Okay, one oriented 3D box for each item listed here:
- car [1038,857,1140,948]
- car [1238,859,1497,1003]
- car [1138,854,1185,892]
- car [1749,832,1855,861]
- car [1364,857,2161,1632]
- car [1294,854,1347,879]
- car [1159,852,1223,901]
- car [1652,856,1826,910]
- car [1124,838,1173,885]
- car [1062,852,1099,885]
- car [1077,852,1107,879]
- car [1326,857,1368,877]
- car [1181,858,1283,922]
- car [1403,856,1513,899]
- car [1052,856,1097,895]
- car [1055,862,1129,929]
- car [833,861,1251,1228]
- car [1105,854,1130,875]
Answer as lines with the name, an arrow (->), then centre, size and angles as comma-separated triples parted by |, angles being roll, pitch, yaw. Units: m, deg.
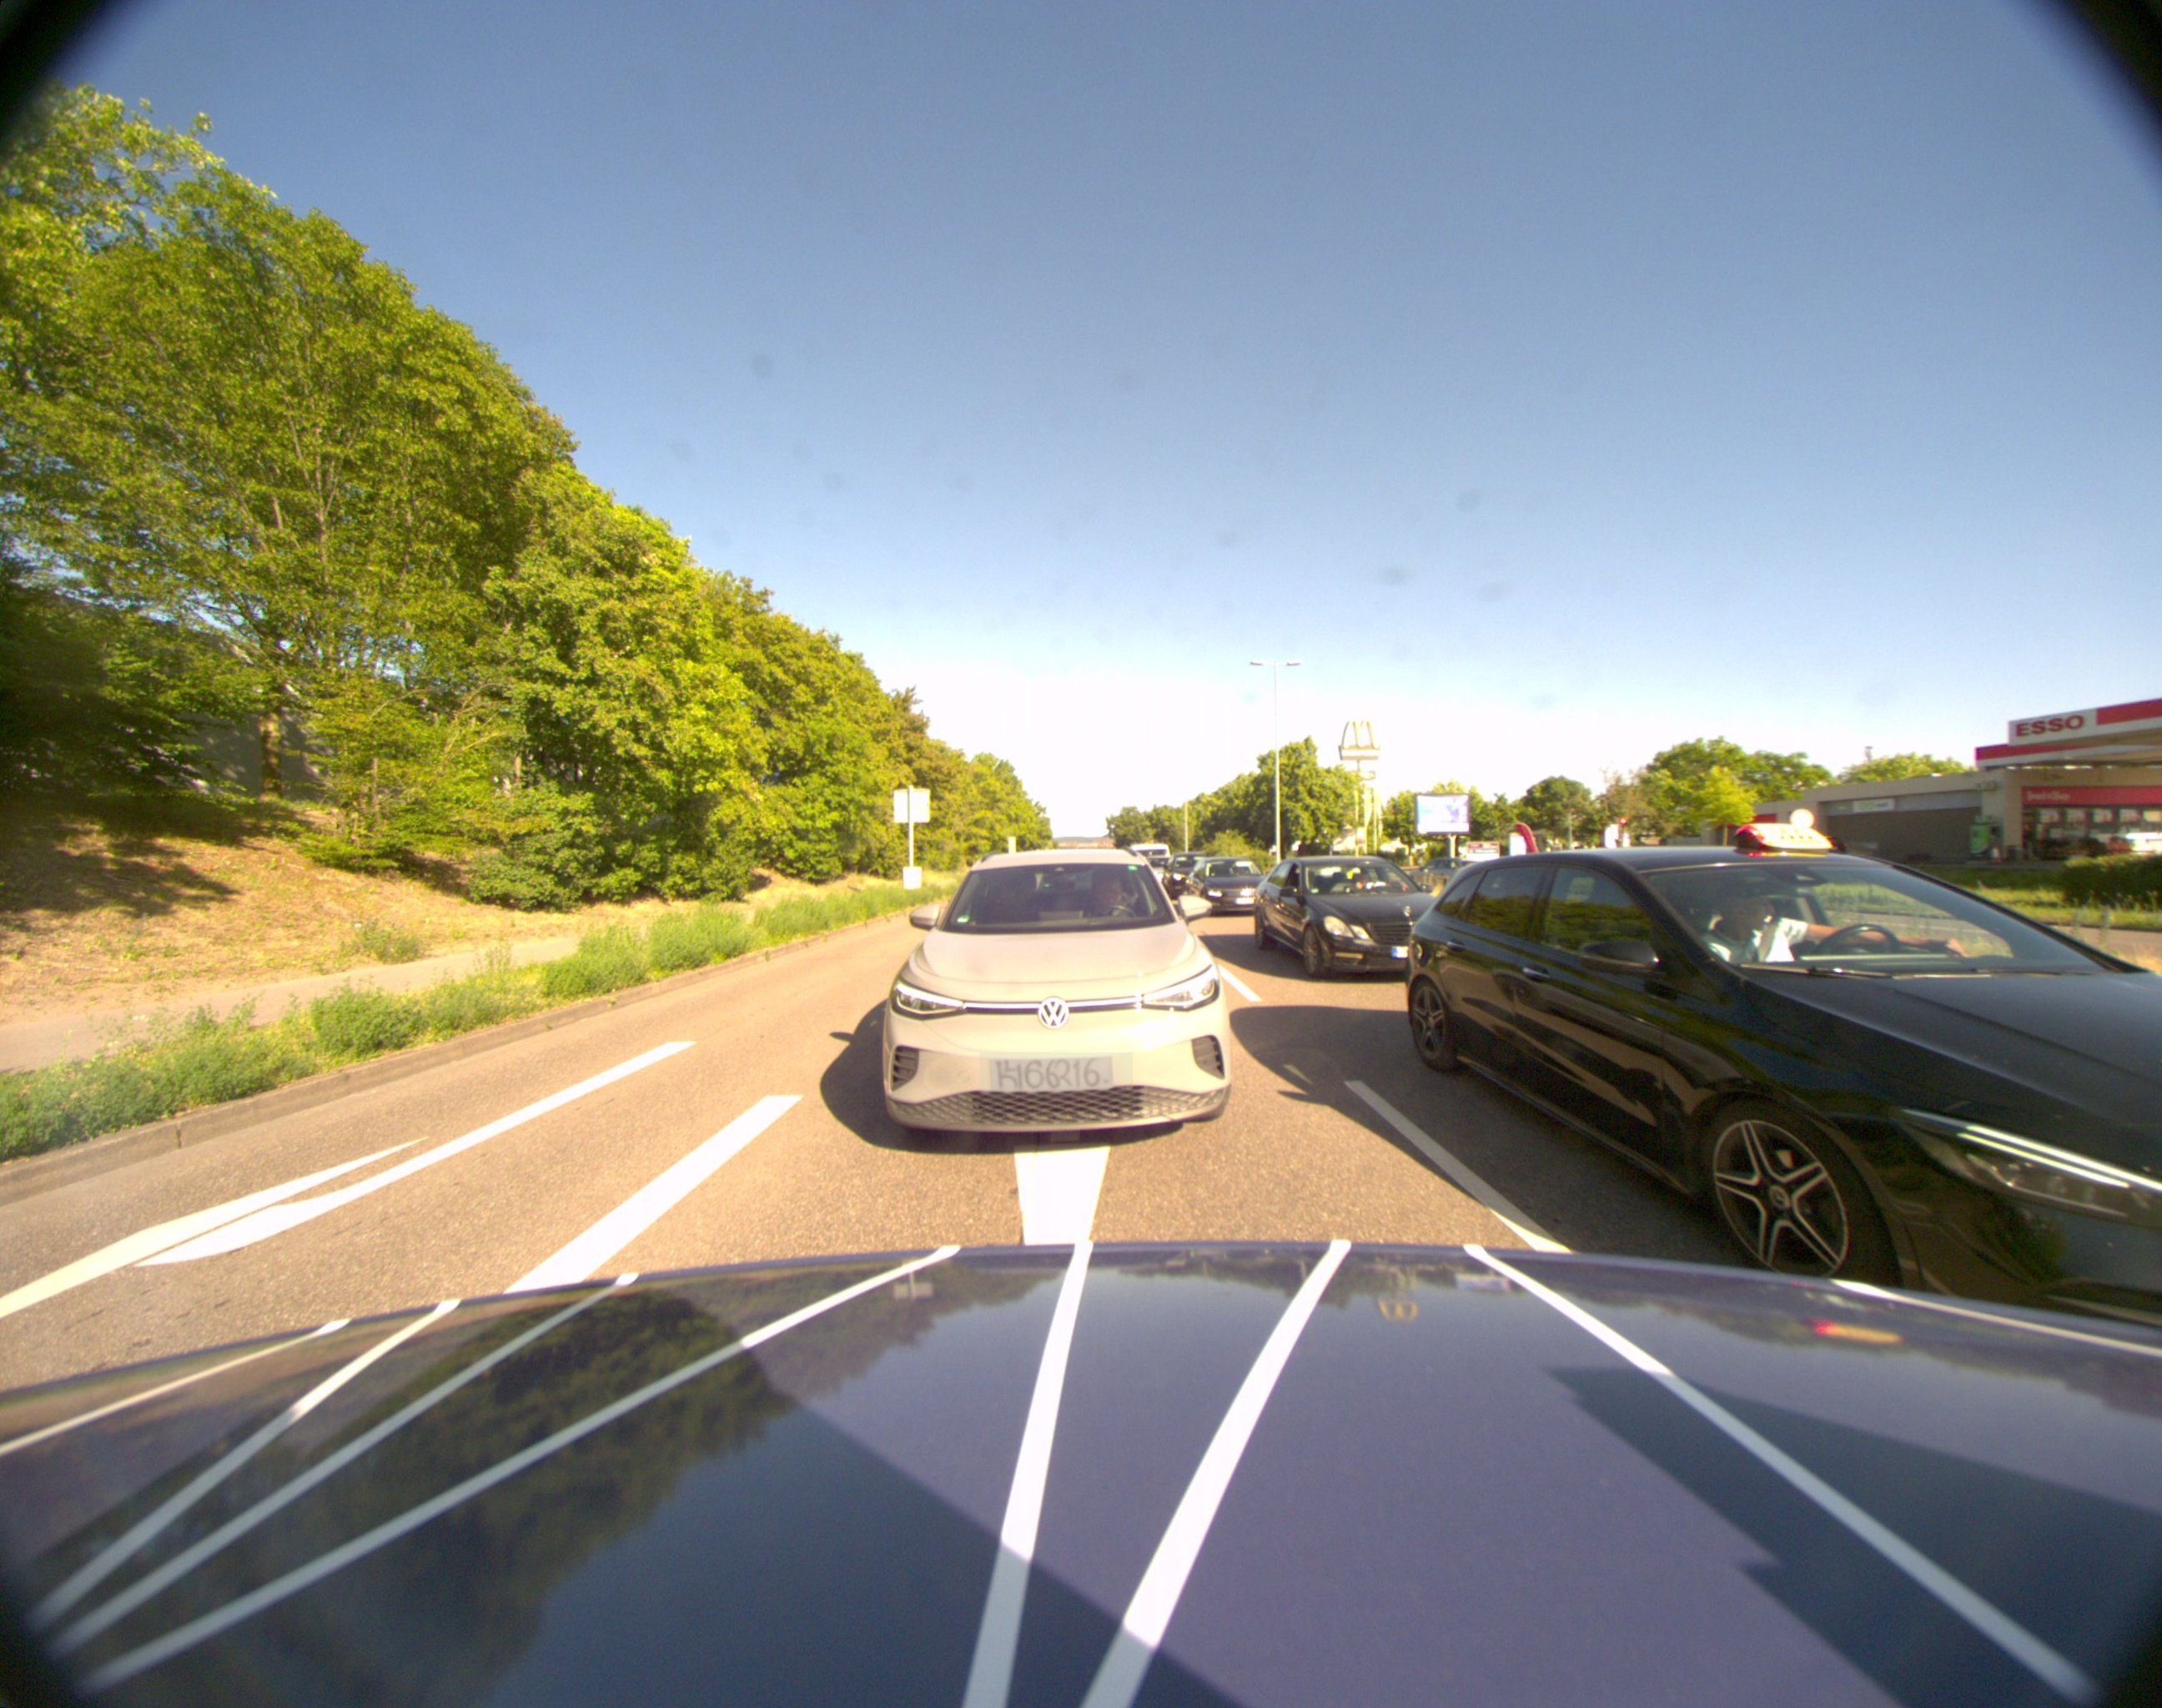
car -> 0.133, 0.874, 15.757 | 1.763, 1.482, 4.402 | -2, 1, 0
car -> 3.587, 0.853, 10.498 | 1.868, 1.430, 4.402 | -2, 1, 0
car -> 3.570, 0.793, 34.163 | 1.635, 1.547, 3.777 | -2, 0, 0
car -> 37.570, -0.376, 39.733 | 1.682, 1.401, 3.978 | 1, 1, 0
car -> 3.089, 0.819, 3.651 | 1.763, 1.482, 4.402 | -2, 1, 0
car -> 16.040, 0.799, 51.115 | 1.764, 1.482, 4.878 | 2, 1, -3
car -> 3.902, 0.759, 27.474 | 1.674, 1.607, 3.879 | -2, 0, 0
car -> 19.647, 0.809, 22.941 | 1.763, 1.401, 3.978 | 1, 1, 0
car -> 3.649, 0.388, 42.037 | 2.019, 2.349, 6.523 | -2, 0, 0
car -> -0.046, 0.715, 39.853 | 1.763, 1.482, 4.402 | -2, 1, 0
car -> 0.639, 0.692, 47.020 | 1.763, 1.482, 4.402 | -2, 1, 0
car -> 20.121, 0.972, 57.675 | 1.763, 1.401, 3.978 | 1, 1, 0
car -> 3.870, 0.863, 20.214 | 1.797, 1.419, 4.287 | -2, 0, 0
car -> 14.207, 0.837, 28.926 | 1.733, 1.401, 4.303 | 1, 1, -5
car -> -0.260, 0.883, 33.031 | 1.763, 1.482, 4.402 | -2, 1, 0
car -> 0.262, 1.041, 20.925 | 1.763, 1.482, 4.402 | -2, 1, 0
car -> -0.183, 0.900, 5.700 | 1.862, 1.573, 4.403 | -2, 0, 0
car -> 2.927, 0.819, 62.113 | 1.763, 1.607, 4.402 | -2, 1, 0
